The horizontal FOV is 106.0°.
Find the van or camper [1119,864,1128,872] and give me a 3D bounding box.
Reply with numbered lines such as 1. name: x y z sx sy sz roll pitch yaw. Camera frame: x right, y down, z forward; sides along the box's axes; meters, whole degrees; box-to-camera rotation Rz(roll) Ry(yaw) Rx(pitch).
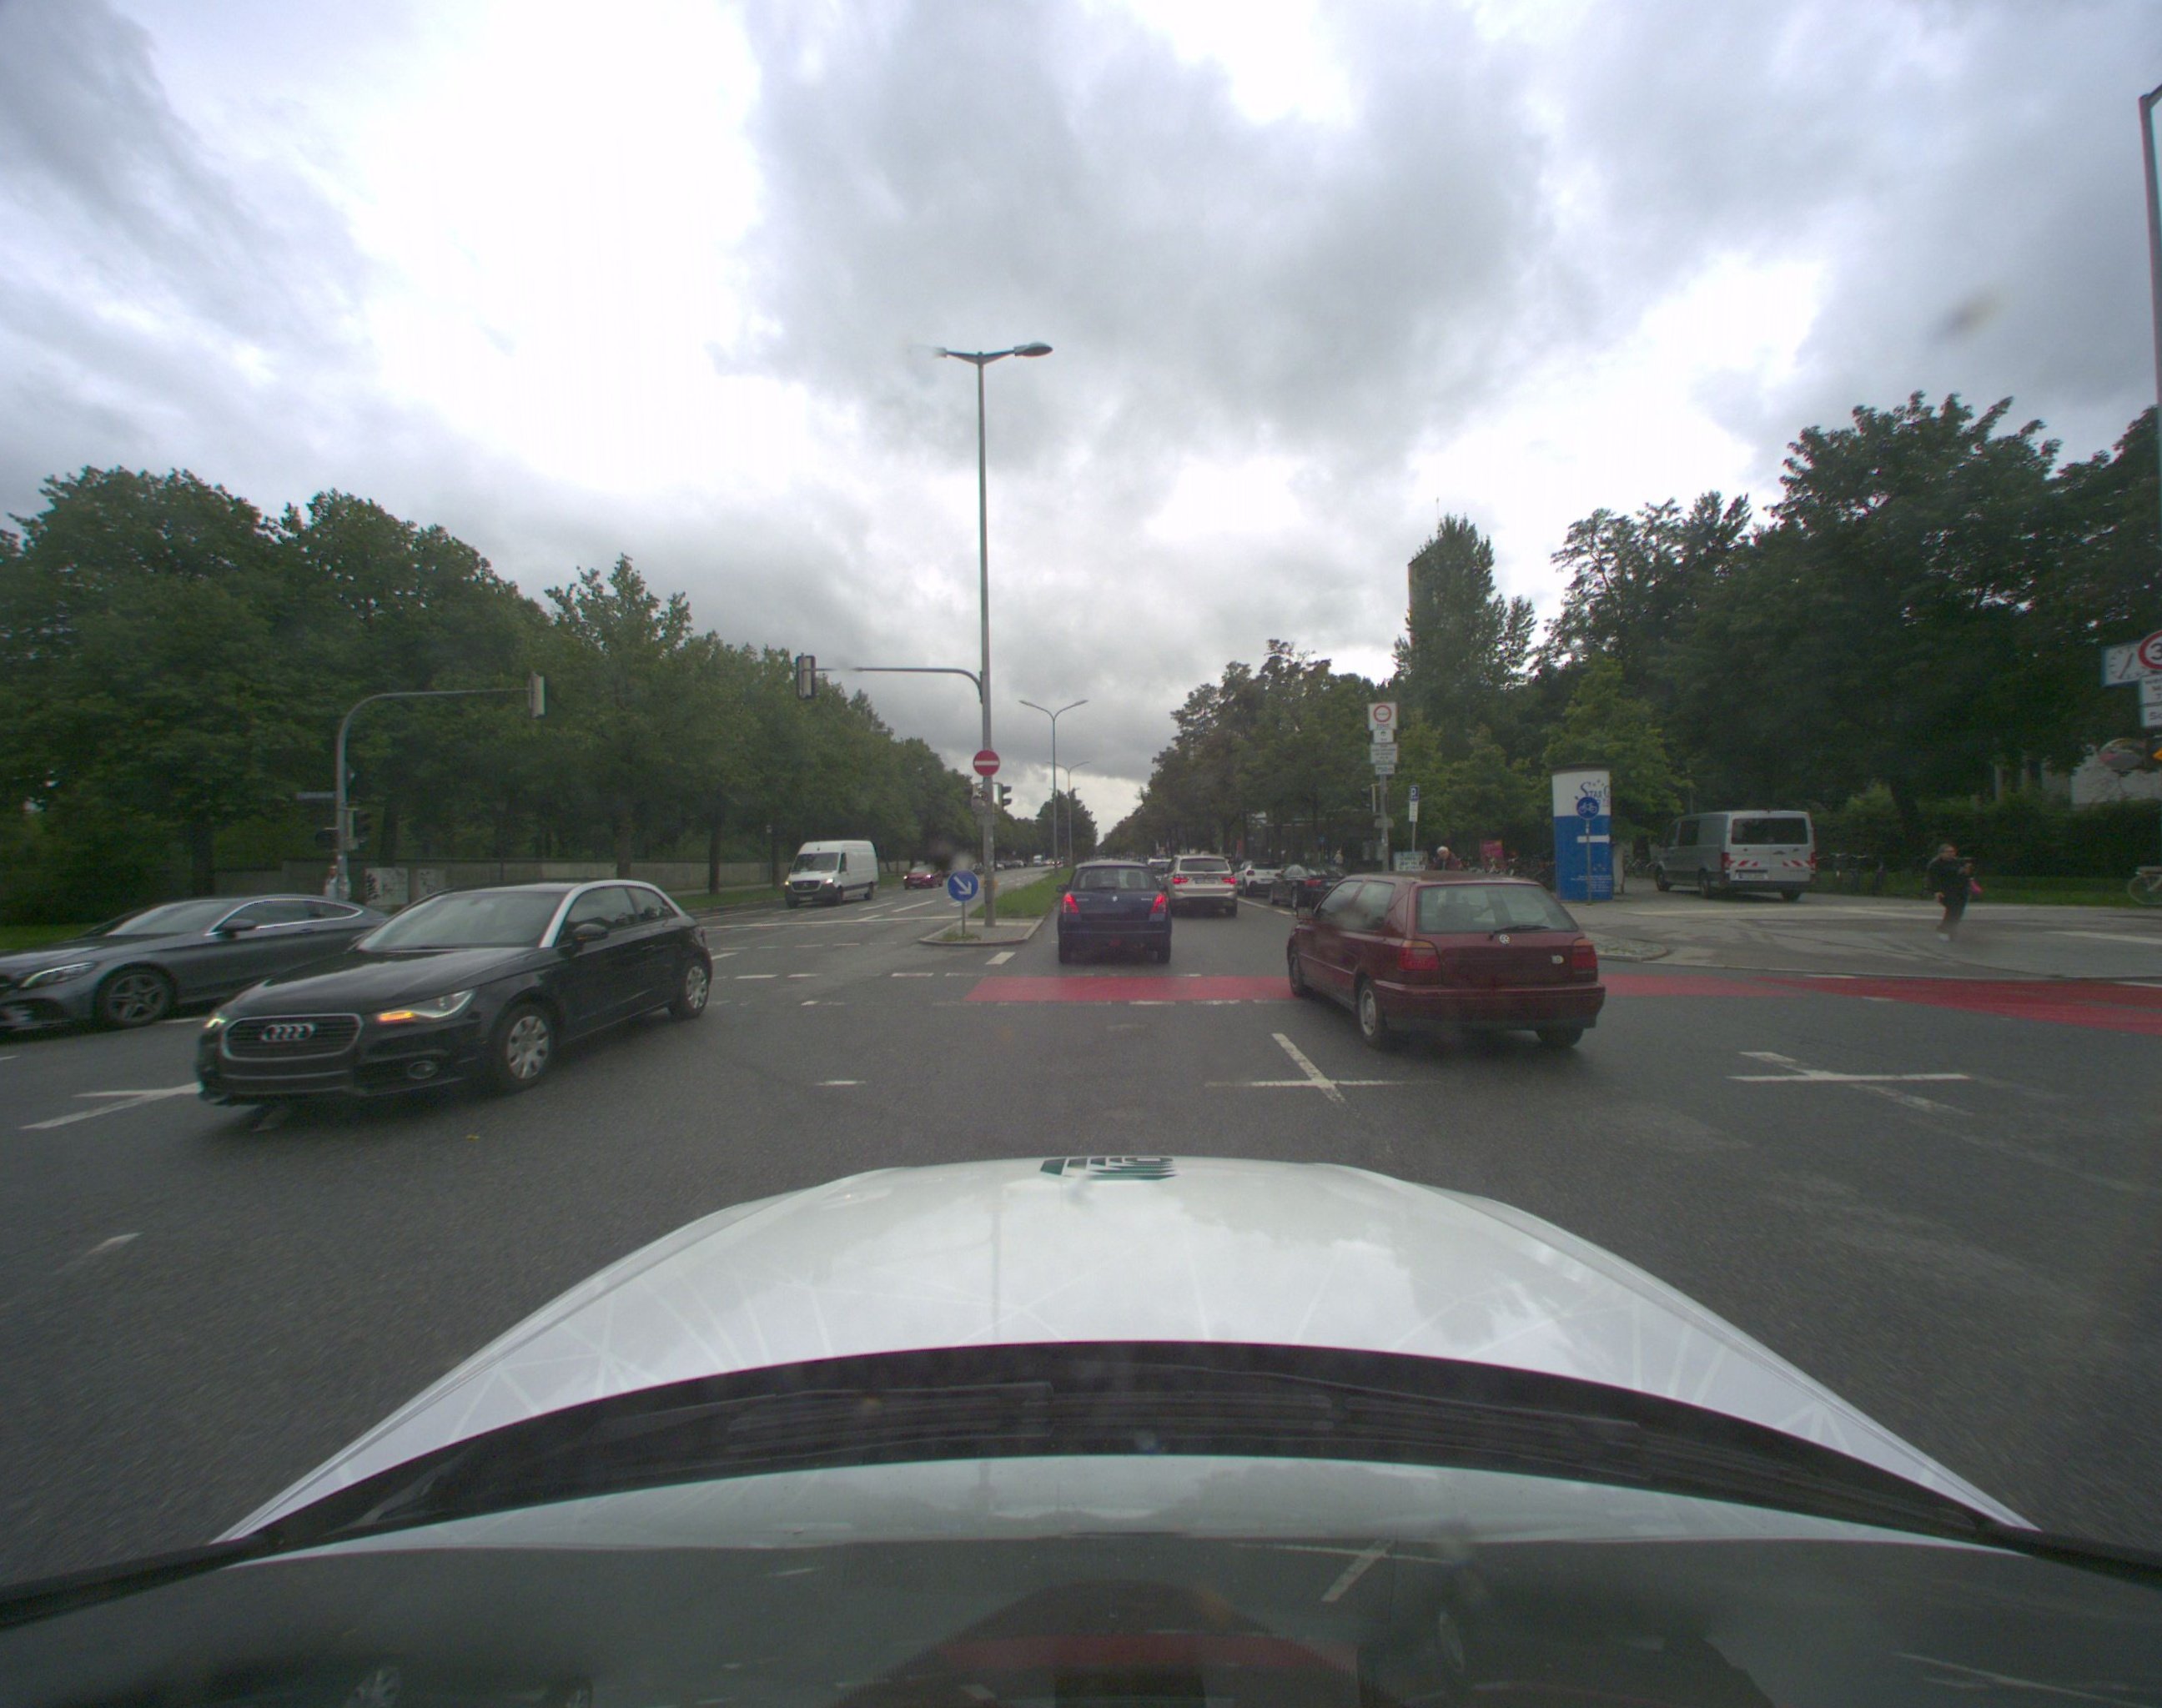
1. van or camper: 9.875 3.274 190.228 1.937 1.975 4.308 -1 0 2

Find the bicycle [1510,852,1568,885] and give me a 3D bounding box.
1. bicycle: 17.257 0.535 30.720 1.799 1.142 0.567 -3 -1 1

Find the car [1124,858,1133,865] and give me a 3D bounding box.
1. car: 9.536 1.495 162.768 1.678 1.525 4.457 0 0 2

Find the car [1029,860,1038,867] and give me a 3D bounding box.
1. car: -11.283 2.316 194.735 1.907 1.542 4.186 -1 0 -1

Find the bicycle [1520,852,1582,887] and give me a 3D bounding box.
1. bicycle: 16.711 0.535 28.978 1.797 1.142 0.568 -3 -1 6

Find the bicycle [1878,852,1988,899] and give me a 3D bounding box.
1. bicycle: 22.212 0.540 21.311 0.713 1.153 2.131 -1 0 3

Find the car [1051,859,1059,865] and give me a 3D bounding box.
1. car: -6.841 2.162 212.203 1.907 1.542 4.186 -1 0 -1

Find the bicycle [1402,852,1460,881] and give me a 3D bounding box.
1. bicycle: 15.856 0.577 36.940 2.330 1.157 0.529 -4 0 0

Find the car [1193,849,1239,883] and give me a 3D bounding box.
1. car: 7.146 0.588 43.437 1.741 1.724 4.907 0 0 1

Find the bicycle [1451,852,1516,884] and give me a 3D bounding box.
1. bicycle: 16.534 0.553 33.473 2.330 1.157 0.585 -4 0 0

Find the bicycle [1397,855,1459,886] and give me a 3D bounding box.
1. bicycle: 14.700 0.700 34.517 2.330 1.157 0.585 -4 0 0

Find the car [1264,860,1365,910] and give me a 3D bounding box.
1. car: 6.988 0.866 24.872 1.705 1.360 4.619 -1 0 -1

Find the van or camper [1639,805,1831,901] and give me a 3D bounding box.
1. van or camper: 17.969 -0.022 22.851 2.124 2.296 6.228 -1 0 18

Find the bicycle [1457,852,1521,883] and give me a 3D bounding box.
1. bicycle: 17.084 0.556 34.121 2.330 1.157 0.585 -4 0 0

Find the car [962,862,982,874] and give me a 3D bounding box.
1. car: -13.808 1.763 103.610 1.563 1.503 4.309 0 0 5

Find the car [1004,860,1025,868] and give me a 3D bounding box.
1. car: -14.416 2.134 177.102 4.123 1.585 1.900 -1 0 -33

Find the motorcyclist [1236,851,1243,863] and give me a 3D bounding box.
1. motorcyclist: 24.372 0.412 125.315 0.689 1.737 0.953 -6 -1 1

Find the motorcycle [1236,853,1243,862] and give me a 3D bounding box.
1. motorcycle: 24.388 0.512 125.354 0.693 1.290 2.066 -6 -1 1

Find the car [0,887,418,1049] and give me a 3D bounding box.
1. car: -10.878 1.234 10.097 1.717 1.416 4.217 -3 0 2

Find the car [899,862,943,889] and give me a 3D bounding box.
1. car: -9.995 1.317 51.196 1.737 1.452 4.658 -3 0 1

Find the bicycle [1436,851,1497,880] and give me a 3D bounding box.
1. bicycle: 16.948 0.499 35.807 2.330 1.157 0.585 -4 0 0

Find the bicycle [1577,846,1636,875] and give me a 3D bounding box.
1. bicycle: 24.192 0.290 37.503 2.330 1.157 0.529 -4 0 0

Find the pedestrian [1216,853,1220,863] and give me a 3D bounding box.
1. pedestrian: 23.020 0.699 136.818 0.572 1.751 0.733 -1 -1 5

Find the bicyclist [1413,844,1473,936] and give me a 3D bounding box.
1. bicyclist: 7.188 0.695 16.182 0.831 1.764 0.738 -1 -1 -35

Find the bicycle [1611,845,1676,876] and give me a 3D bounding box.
1. bicycle: 23.902 0.280 34.616 2.330 1.157 0.529 -4 0 0

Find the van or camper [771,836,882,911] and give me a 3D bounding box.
1. van or camper: -10.249 0.737 33.586 2.170 2.647 6.951 -3 0 1

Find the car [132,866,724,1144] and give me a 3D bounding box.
1. car: -4.497 0.872 6.468 1.634 1.487 3.780 -1 0 0

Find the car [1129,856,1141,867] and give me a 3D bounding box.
1. car: 8.830 1.219 133.788 1.758 1.651 4.424 -1 0 1

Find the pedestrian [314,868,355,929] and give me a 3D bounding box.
1. pedestrian: -22.008 1.304 24.021 0.706 1.740 0.516 -1 -1 -4

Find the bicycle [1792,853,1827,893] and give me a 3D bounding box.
1. bicycle: 22.021 0.553 24.640 0.709 1.153 2.142 -2 -1 41

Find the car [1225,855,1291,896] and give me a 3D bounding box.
1. car: 7.125 0.824 33.153 1.707 1.547 4.381 -1 0 0

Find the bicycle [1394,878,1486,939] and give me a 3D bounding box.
1. bicycle: 7.129 1.043 16.134 1.955 1.081 0.740 -1 -1 -35

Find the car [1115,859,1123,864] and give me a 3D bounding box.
1. car: 10.700 2.043 228.565 1.844 1.447 4.096 -1 0 -1

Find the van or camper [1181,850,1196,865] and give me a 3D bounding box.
1. van or camper: 19.259 0.684 146.585 2.017 2.558 5.958 -1 0 1

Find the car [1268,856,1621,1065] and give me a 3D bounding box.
1. car: 3.037 0.767 7.767 1.616 1.454 3.950 -1 0 0

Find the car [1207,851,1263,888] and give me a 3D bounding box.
1. car: 7.136 0.675 38.091 1.741 1.547 4.642 -2 0 0

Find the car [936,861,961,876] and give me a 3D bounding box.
1. car: -14.450 1.557 89.044 1.793 1.490 4.916 0 0 1

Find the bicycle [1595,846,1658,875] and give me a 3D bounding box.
1. bicycle: 23.897 0.283 35.673 2.330 1.157 0.529 -4 0 0

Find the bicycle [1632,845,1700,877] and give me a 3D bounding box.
1. bicycle: 23.831 0.274 33.202 2.330 1.157 0.529 -4 0 0

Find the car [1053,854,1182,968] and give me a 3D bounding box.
1. car: 0.505 0.813 13.435 1.783 1.555 3.999 -1 0 -1

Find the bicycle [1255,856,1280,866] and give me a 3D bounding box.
1. bicycle: 20.421 0.779 89.185 2.533 1.089 0.647 -1 -1 0

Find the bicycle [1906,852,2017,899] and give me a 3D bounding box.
1. bicycle: 23.040 0.537 21.378 0.693 1.153 2.131 -1 0 3

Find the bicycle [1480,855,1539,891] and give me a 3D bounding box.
1. bicycle: 14.901 0.660 28.345 1.807 1.142 0.565 -3 -1 -11

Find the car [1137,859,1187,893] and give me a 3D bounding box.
1. car: 3.677 0.976 37.747 1.844 1.447 4.096 -1 0 -1

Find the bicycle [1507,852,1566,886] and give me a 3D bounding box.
1. bicycle: 16.812 0.540 30.094 1.799 1.142 0.567 -3 -1 1

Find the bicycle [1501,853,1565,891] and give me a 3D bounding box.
1. bicycle: 15.413 0.606 27.765 1.940 1.212 0.565 -3 -1 -11

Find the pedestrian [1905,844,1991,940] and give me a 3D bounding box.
1. pedestrian: 14.314 0.620 13.471 0.684 1.538 0.741 -1 -1 20

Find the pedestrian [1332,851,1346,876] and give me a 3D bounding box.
1. pedestrian: 16.231 0.608 51.251 0.580 1.513 0.690 -1 -1 -18

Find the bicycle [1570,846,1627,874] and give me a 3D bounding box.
1. bicycle: 24.459 0.294 38.506 2.330 1.157 0.529 -4 0 0

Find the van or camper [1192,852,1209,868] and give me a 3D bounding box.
1. van or camper: 18.956 0.933 129.702 1.986 2.558 5.958 -1 0 1

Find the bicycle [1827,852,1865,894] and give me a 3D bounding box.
1. bicycle: 22.600 0.550 24.092 0.709 1.153 2.142 -2 -1 41

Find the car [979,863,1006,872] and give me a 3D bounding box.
1. car: -14.440 2.259 132.419 4.016 1.354 1.831 -1 0 -34

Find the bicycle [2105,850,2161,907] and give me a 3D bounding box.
1. bicycle: 24.214 0.542 17.836 0.704 1.250 2.097 -1 0 -25

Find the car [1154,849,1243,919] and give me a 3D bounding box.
1. car: 3.190 0.782 22.905 1.844 1.743 4.096 -1 0 -1

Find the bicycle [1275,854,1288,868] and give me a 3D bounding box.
1. bicycle: 18.511 0.614 75.306 0.643 1.280 2.551 -1 0 1

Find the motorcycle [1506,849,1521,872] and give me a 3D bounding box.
1. motorcycle: 23.002 0.343 43.328 0.650 1.177 1.824 -2 0 26

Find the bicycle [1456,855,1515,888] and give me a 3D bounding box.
1. bicycle: 14.799 0.638 29.814 1.795 1.142 0.569 -3 -1 9

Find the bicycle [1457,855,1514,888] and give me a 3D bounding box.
1. bicycle: 15.297 0.645 30.831 1.797 1.142 0.568 -3 -1 6

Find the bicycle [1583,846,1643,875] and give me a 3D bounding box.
1. bicycle: 24.116 0.288 36.910 2.330 1.157 0.529 -4 0 0

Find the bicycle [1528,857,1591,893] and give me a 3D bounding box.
1. bicycle: 15.564 0.666 26.517 1.807 1.071 0.565 -3 -1 -11
